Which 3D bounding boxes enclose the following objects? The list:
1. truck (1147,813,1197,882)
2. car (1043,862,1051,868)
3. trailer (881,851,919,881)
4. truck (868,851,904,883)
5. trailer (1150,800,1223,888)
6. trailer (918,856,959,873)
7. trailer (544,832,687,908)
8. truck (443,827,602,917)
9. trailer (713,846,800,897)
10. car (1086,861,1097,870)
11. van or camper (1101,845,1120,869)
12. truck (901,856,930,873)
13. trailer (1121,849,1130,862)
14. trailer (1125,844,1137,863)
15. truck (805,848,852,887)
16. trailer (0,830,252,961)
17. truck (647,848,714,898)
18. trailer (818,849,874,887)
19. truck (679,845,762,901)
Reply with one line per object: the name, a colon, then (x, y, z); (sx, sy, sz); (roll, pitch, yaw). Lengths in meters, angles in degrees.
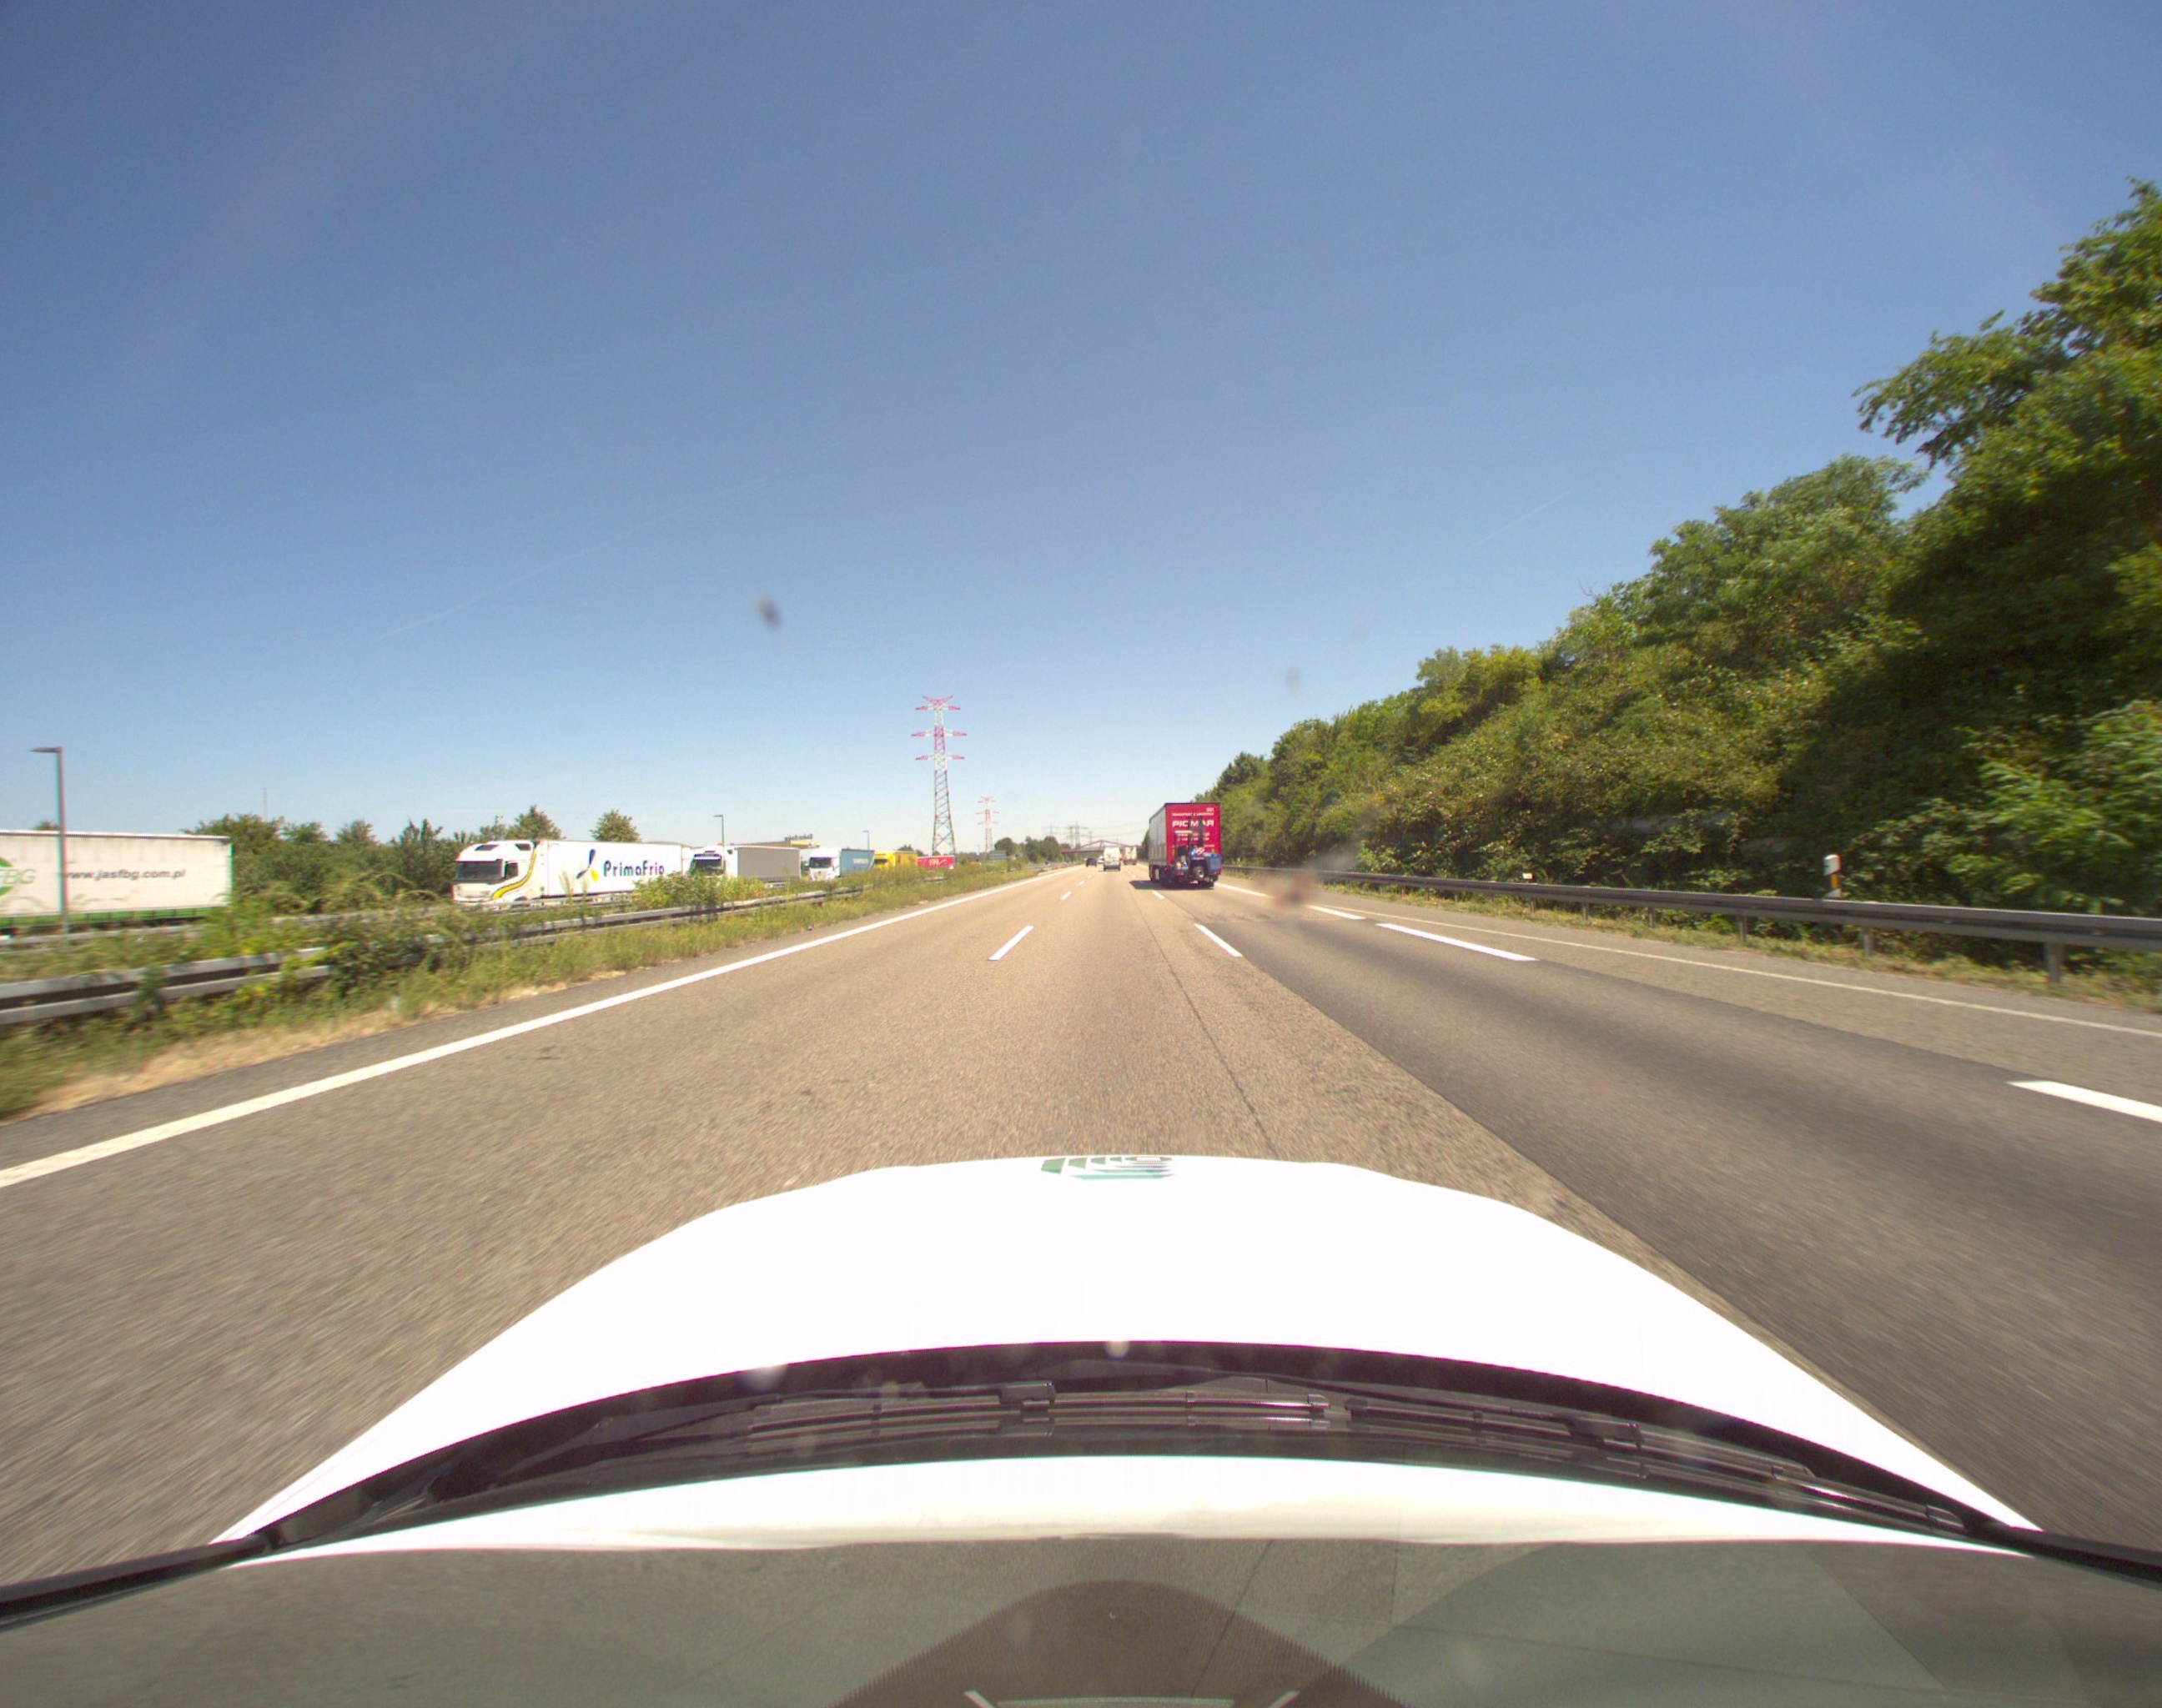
truck: (5.549, -0.364, 50.784); (2.490, 3.920, 7.099); (-1, -1, 2)
car: (-8.863, 2.850, 213.581); (1.735, 1.276, 4.320); (-5, -1, 2)
trailer: (-26.313, 1.721, 118.823); (2.823, 4.220, 11.085); (0, 0, 1)
truck: (-26.493, 1.680, 110.889); (2.823, 4.200, 7.920); (0, 0, 1)
trailer: (5.295, -0.394, 43.365); (2.481, 3.909, 14.251); (-1, 0, 2)
trailer: (-36.190, 2.619, 207.353); (3.090, 4.055, 11.385); (-1, -1, 36)
trailer: (-28.452, 0.935, 50.612); (2.589, 4.219, 10.518); (0, 0, 2)
truck: (-28.694, 0.874, 42.381); (2.572, 4.188, 7.939); (-1, 0, 2)
trailer: (-28.258, 1.484, 71.624); (3.102, 4.158, 11.016); (0, 0, 1)
car: (1.970, 2.163, 153.187); (1.973, 1.817, 3.817); (0, 0, 4)
van or camper: (3.522, 0.413, 98.113); (2.221, 2.782, 5.426); (0, 0, 2)
truck: (-40.736, 2.604, 201.153); (3.087, 4.049, 6.688); (-1, -1, 36)
trailer: (13.079, 0.506, 241.476); (2.626, 3.897, 7.074); (0, 0, 3)
trailer: (10.849, -0.098, 176.658); (2.626, 4.060, 12.376); (0, 0, 3)
truck: (-27.523, 1.464, 89.099); (2.839, 4.073, 7.090); (0, 0, 1)
trailer: (-35.858, 1.338, 27.524); (3.082, 4.156, 12.015); (0, 0, 2)
truck: (-33.644, 1.553, 68.700); (2.685, 4.006, 5.746); (0, -1, 2)
trailer: (-27.389, 1.544, 95.710); (2.823, 4.148, 12.086); (0, 0, 1)
truck: (-28.351, 1.431, 64.497); (3.106, 4.158, 7.505); (0, 0, 1)
